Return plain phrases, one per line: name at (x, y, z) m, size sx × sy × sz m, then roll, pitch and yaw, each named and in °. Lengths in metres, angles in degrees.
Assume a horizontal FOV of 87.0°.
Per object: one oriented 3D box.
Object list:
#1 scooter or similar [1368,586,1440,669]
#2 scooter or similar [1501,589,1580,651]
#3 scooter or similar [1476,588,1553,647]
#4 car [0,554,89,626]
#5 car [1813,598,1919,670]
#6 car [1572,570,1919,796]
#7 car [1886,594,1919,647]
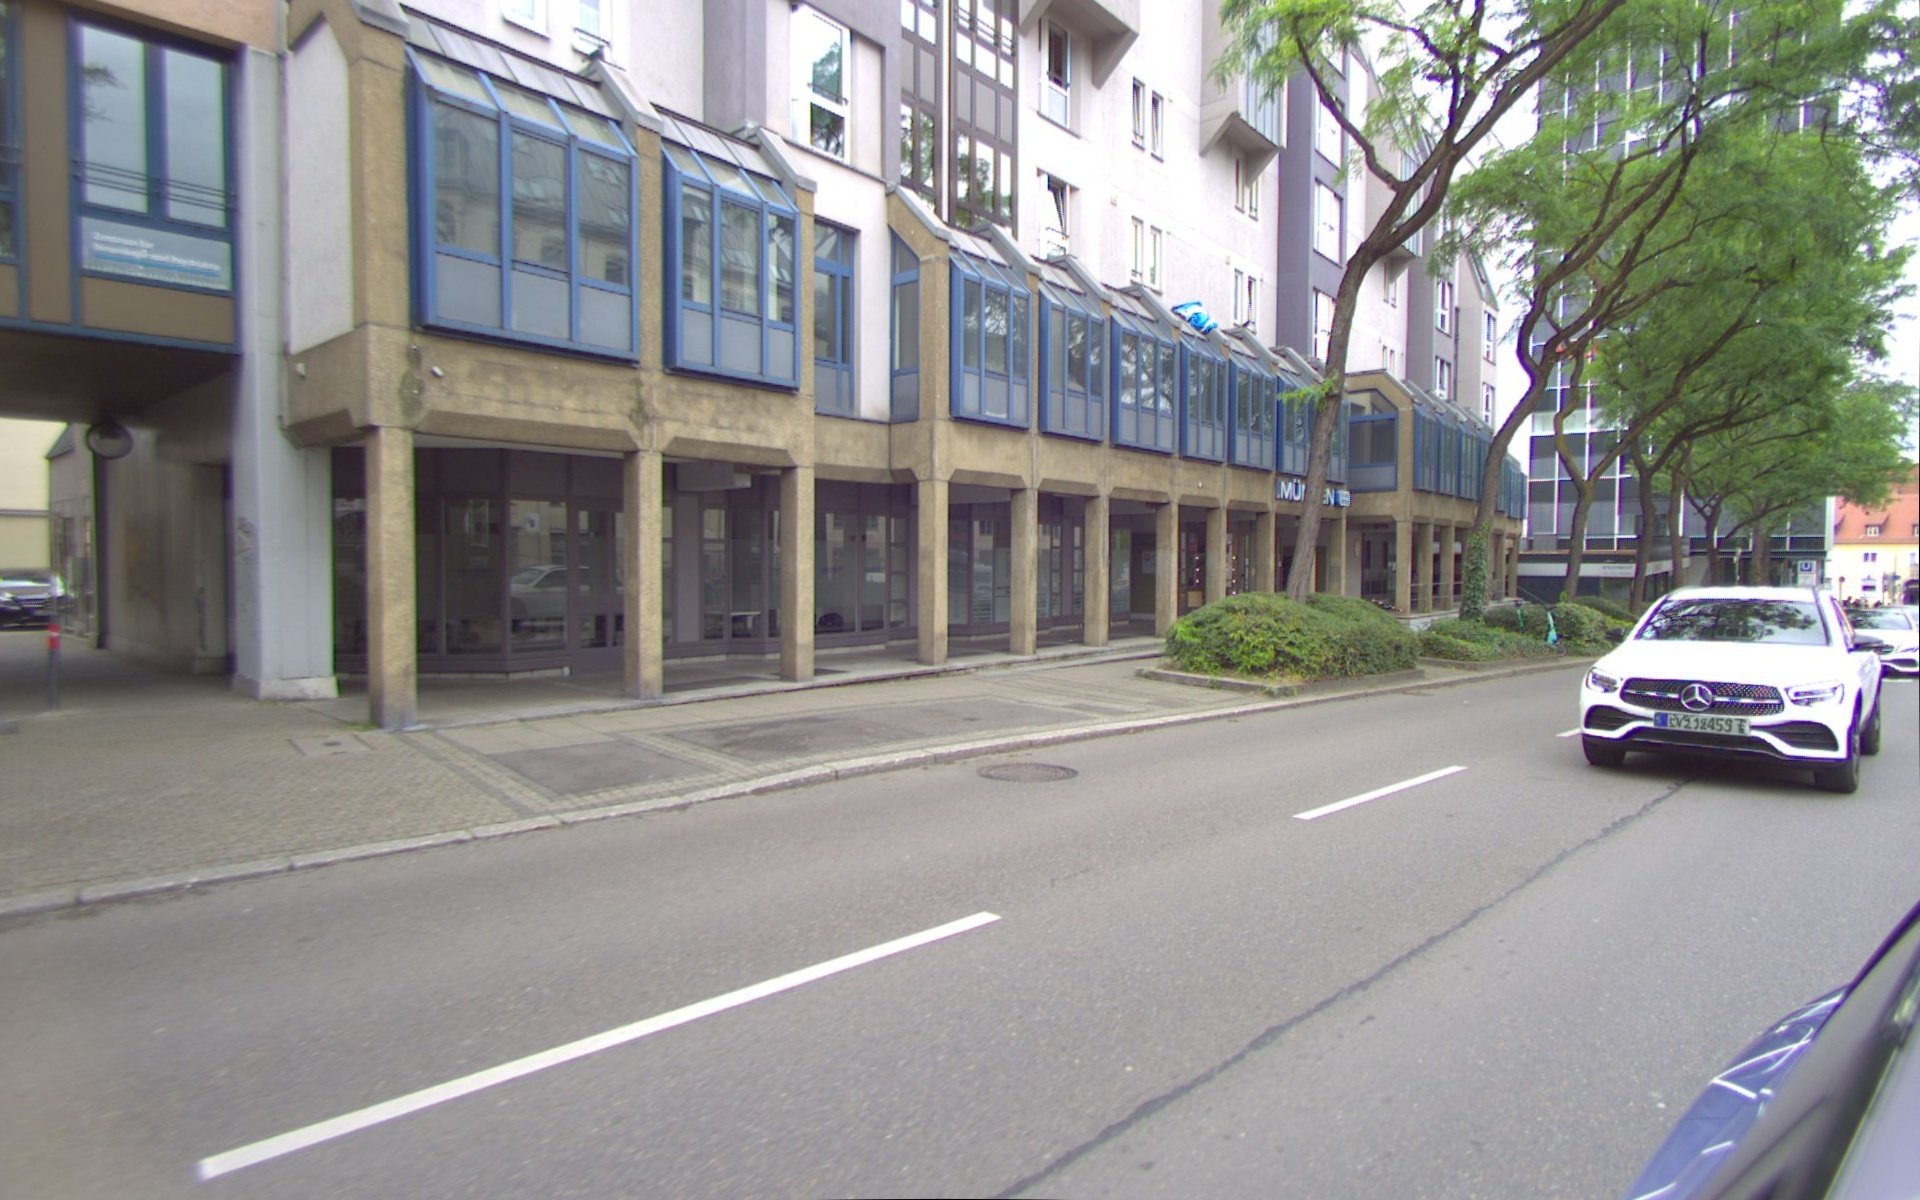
scooter or similar at (8.080, 0.476, 18.462) m, size 0.564 × 1.452 × 1.185 m, roll 0°, pitch 0°, yaw -17°
scooter or similar at (13.872, 0.461, 24.218) m, size 1.512 × 1.452 × 0.685 m, roll 0°, pitch 0°, yaw 17°
scooter or similar at (14.080, 0.432, 25.726) m, size 1.575 × 1.452 × 0.729 m, roll 0°, pitch 0°, yaw 17°
car at (-22.436, -0.196, 24.315) m, size 4.625 × 1.580 × 1.791 m, roll -1°, pitch 0°, yaw 43°
car at (20.284, 0.670, 22.247) m, size 4.533 × 1.404 × 1.886 m, roll -1°, pitch 1°, yaw -44°
car at (7.429, 0.576, 9.408) m, size 3.862 × 1.628 × 2.056 m, roll -1°, pitch 1°, yaw -44°
car at (31.454, 0.640, 32.992) m, size 3.599 × 1.632 × 1.637 m, roll -1°, pitch 0°, yaw -44°
